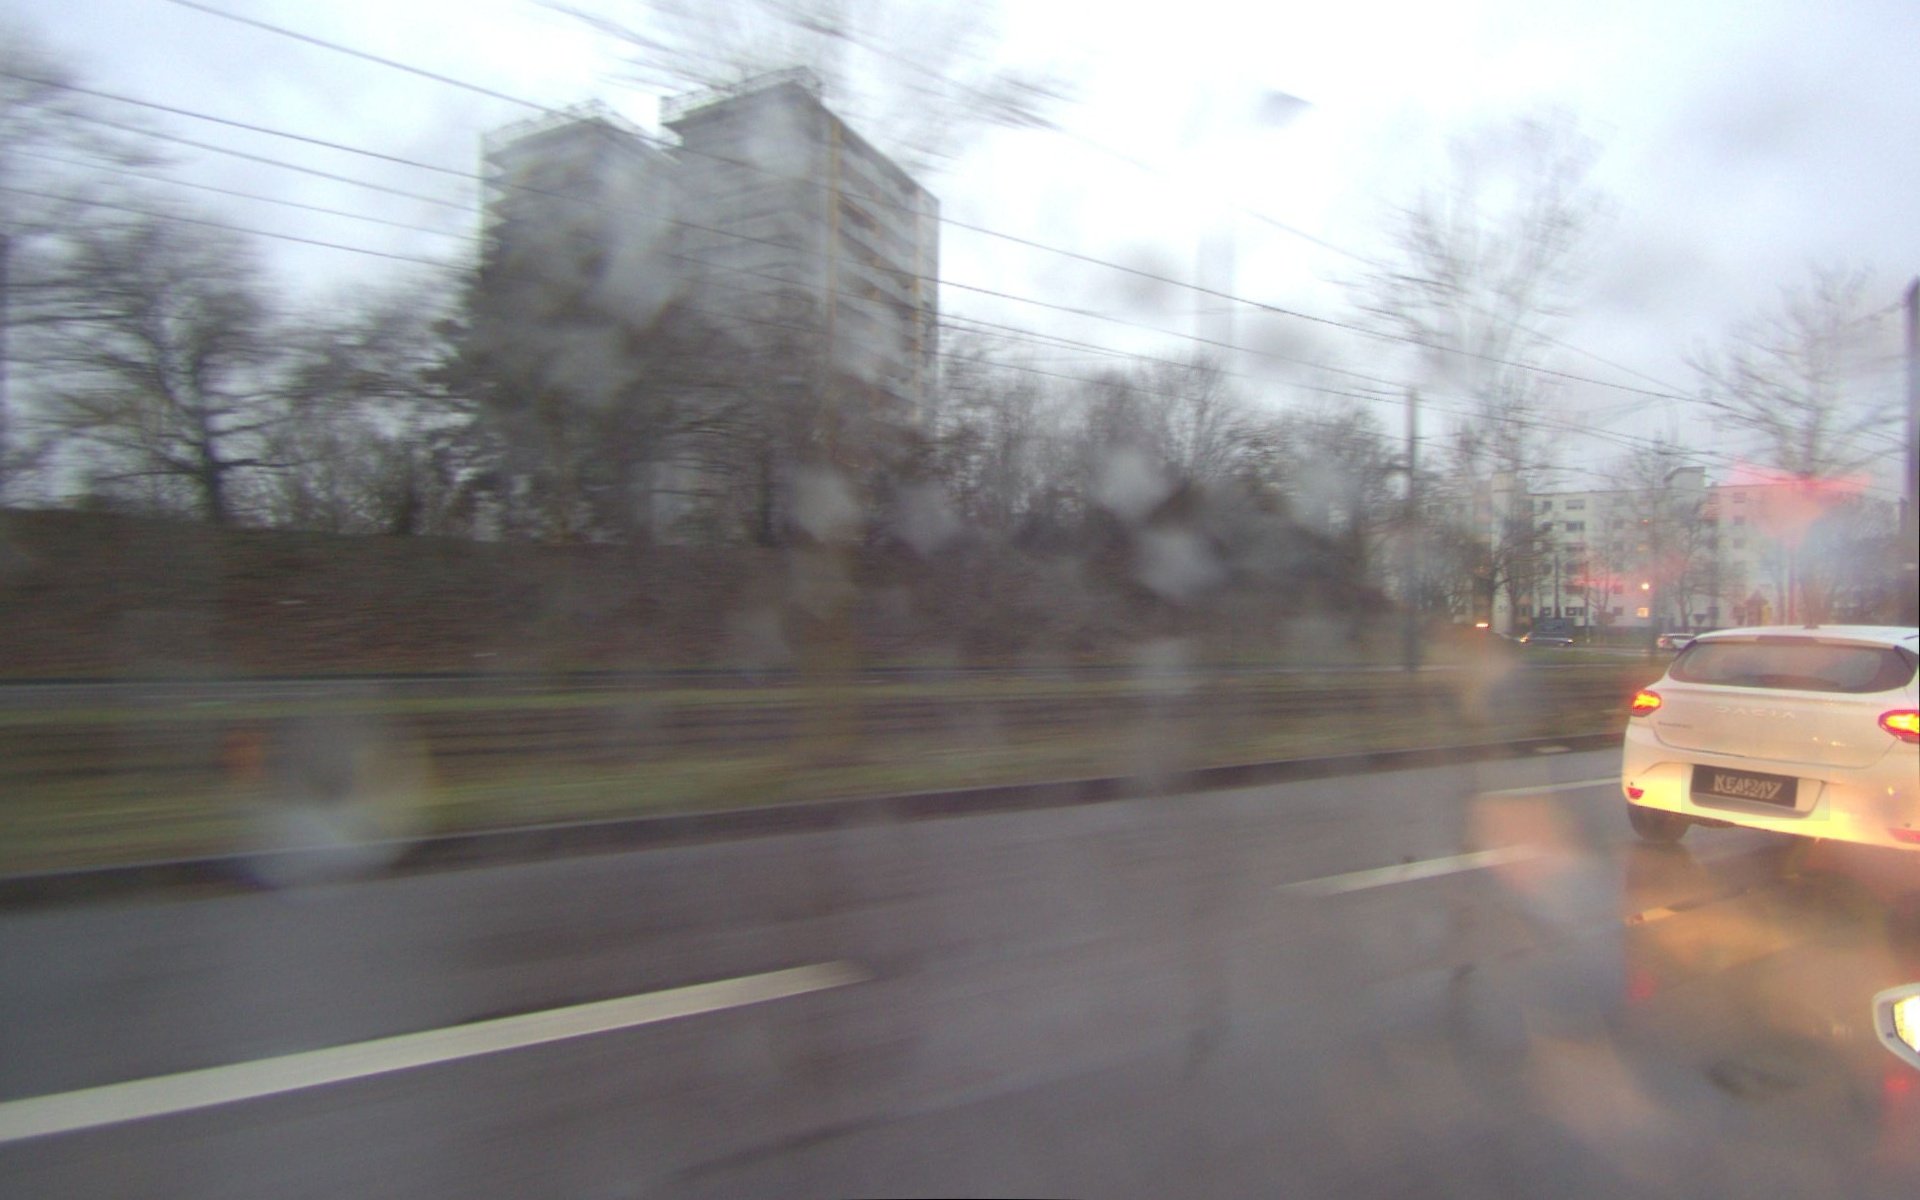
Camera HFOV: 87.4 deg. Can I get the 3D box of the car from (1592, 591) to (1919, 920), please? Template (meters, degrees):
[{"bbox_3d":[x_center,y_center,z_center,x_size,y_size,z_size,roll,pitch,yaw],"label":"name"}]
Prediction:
[{"bbox_3d":[6.265,0.843,6.785,4.099,1.670,1.705,2,-1,-31],"label":"car"}]
